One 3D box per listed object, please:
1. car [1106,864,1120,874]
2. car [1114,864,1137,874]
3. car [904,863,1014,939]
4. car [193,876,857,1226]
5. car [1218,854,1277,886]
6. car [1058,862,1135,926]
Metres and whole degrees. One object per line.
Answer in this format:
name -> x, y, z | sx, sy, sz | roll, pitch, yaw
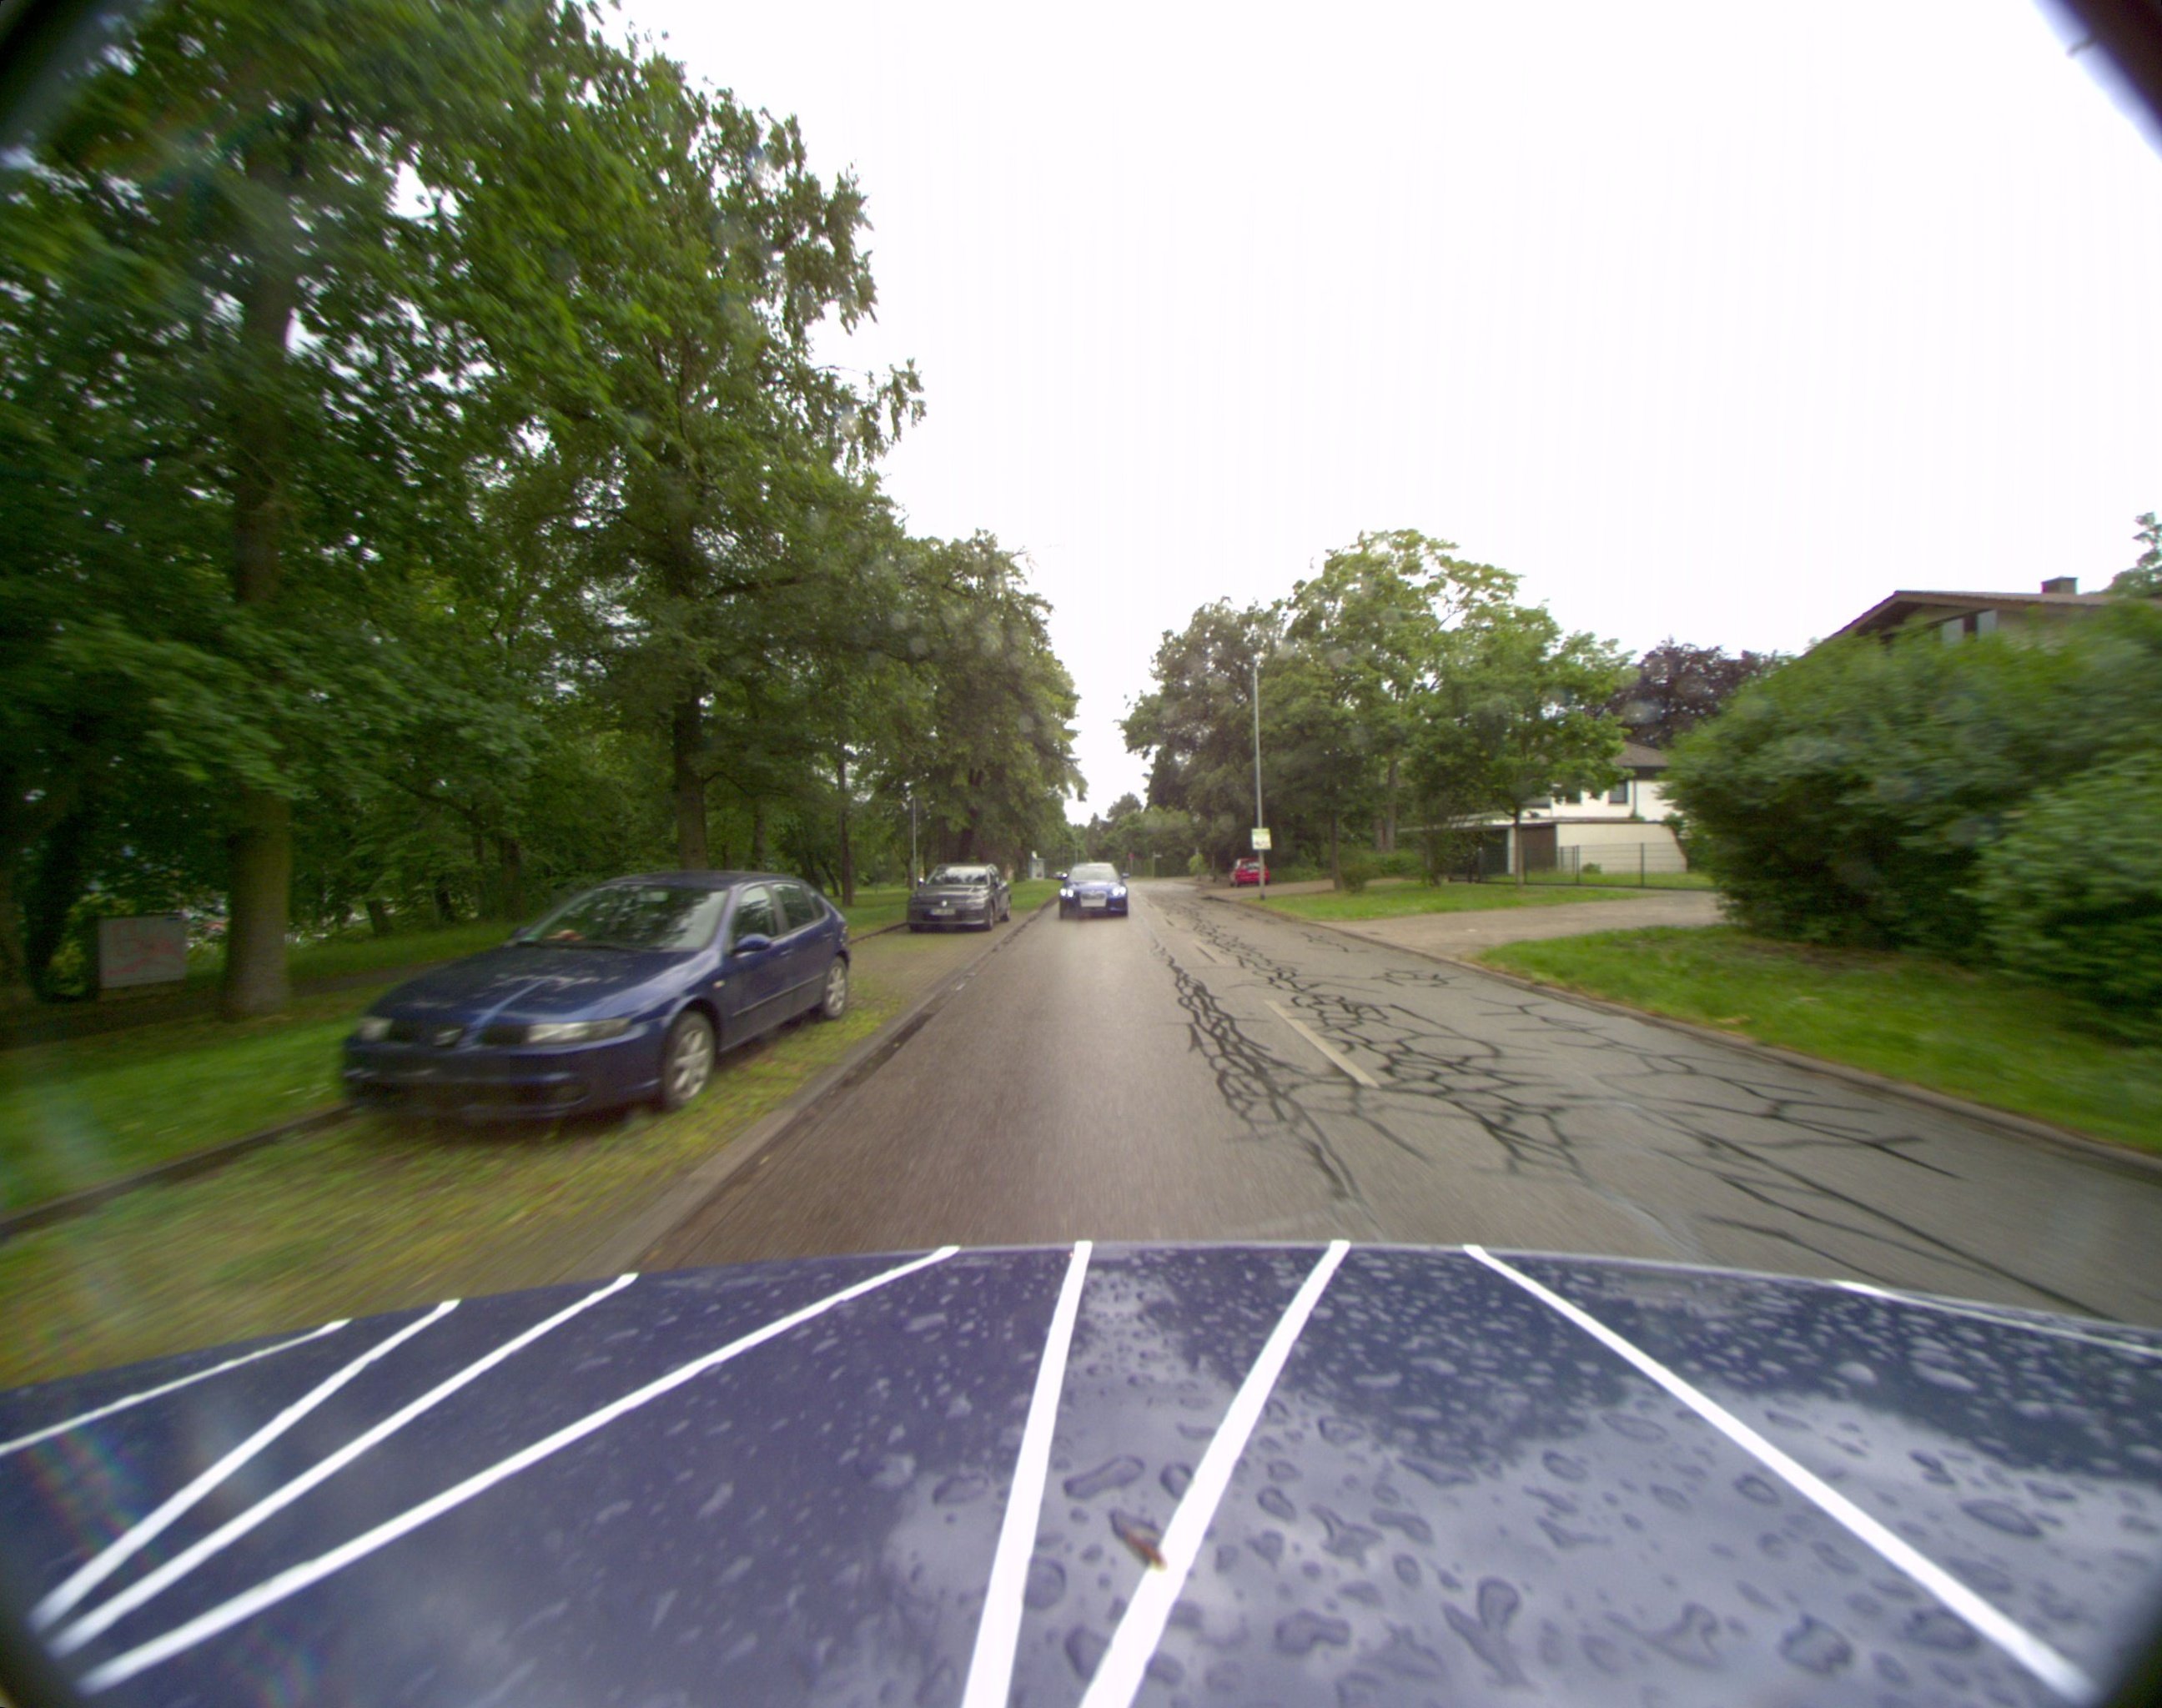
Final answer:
car -> 4.510, 2.110, 108.432 | 1.705, 1.401, 4.009 | 1, -1, -1
car -> 8.223, 2.771, 139.577 | 3.863, 1.577, 1.817 | -2, -1, -7
car -> -2.651, 0.974, 17.465 | 1.704, 1.453, 4.218 | 0, 0, 2
car -> -3.210, 0.974, 5.552 | 1.747, 1.444, 4.001 | 2, 0, 3
car -> 9.050, 0.878, 41.628 | 1.999, 1.507, 3.999 | -5, -1, -4
car -> 0.380, 1.013, 20.385 | 1.839, 1.501, 4.001 | -1, -1, 0
